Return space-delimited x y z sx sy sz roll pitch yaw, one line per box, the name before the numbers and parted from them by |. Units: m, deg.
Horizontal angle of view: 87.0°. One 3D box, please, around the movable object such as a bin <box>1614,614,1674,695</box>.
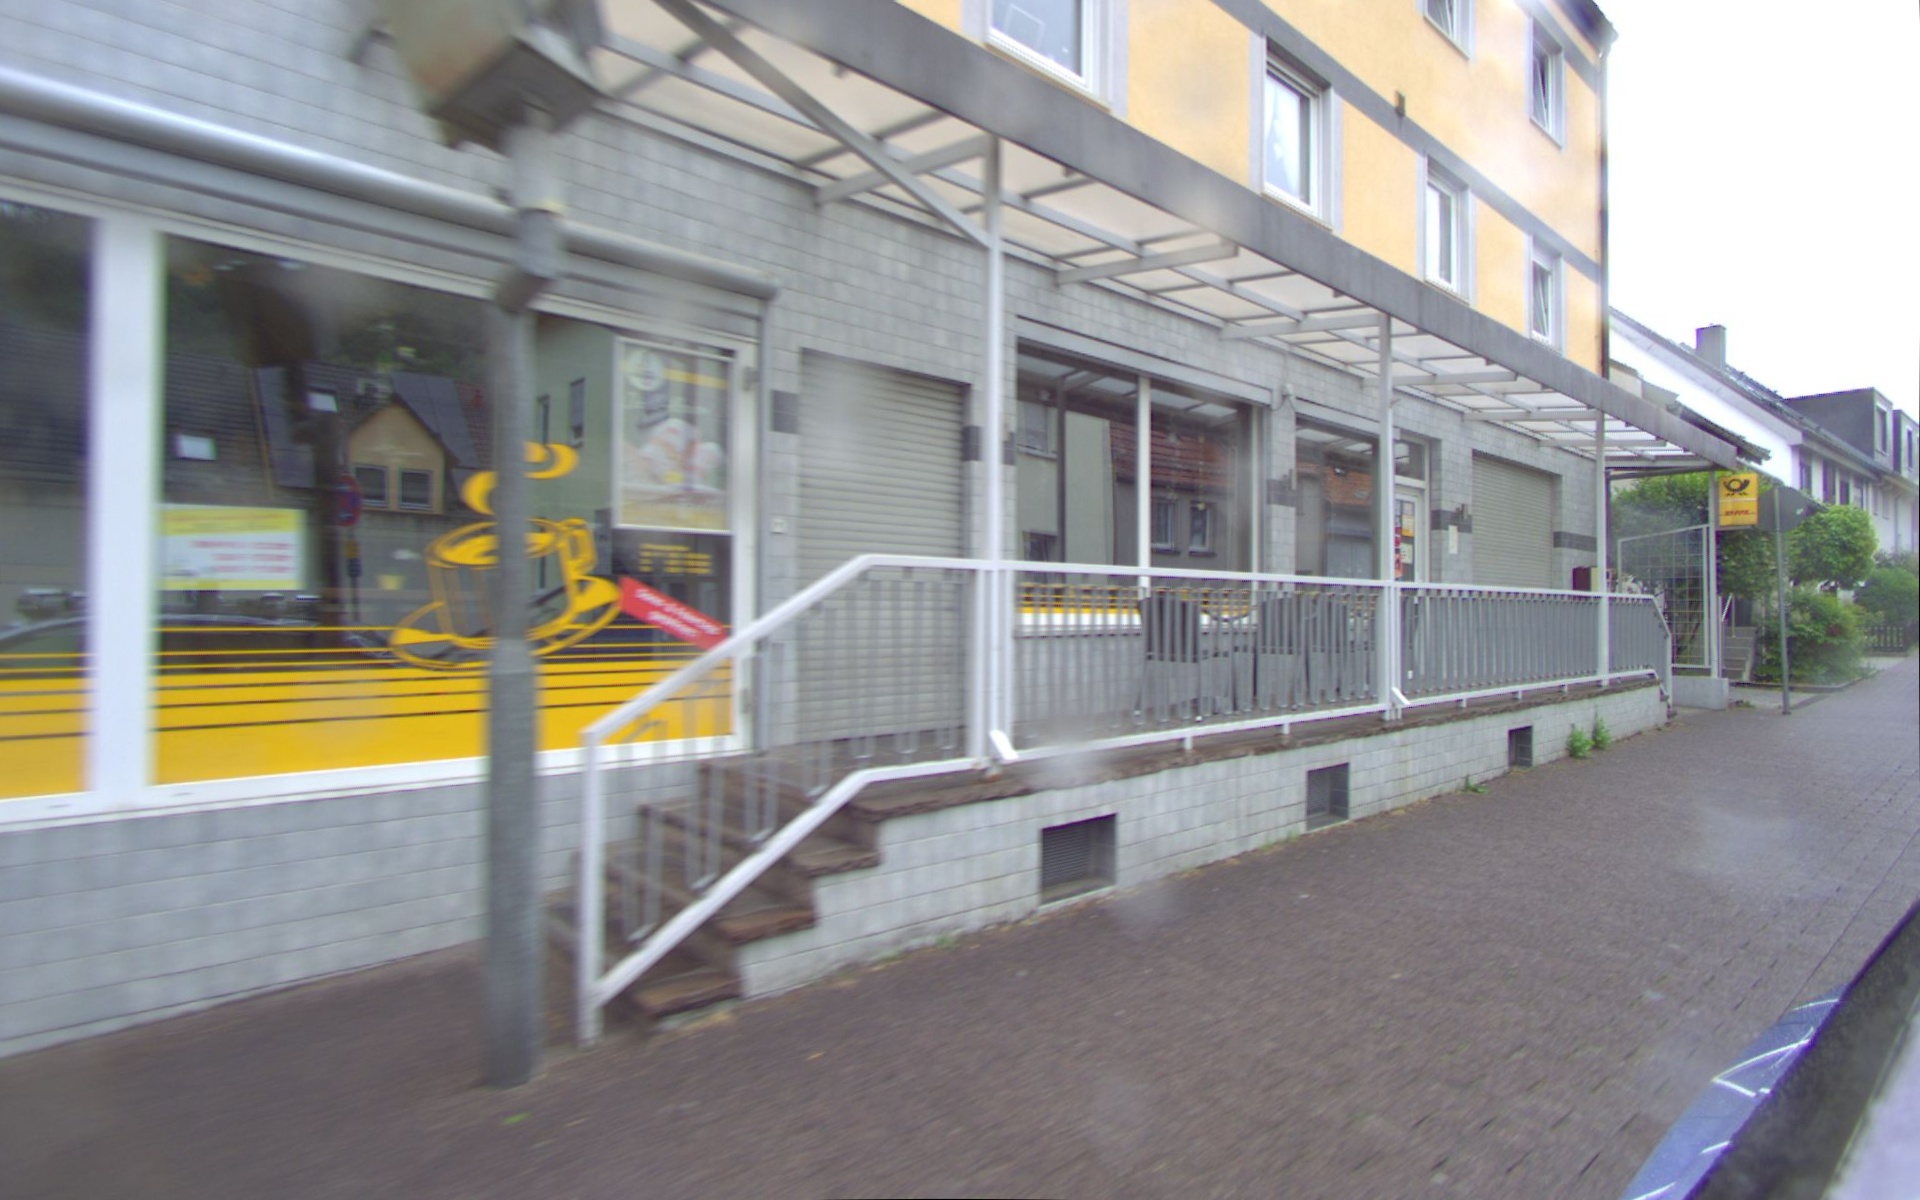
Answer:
movable object such as a bin | 9.752 0.760 14.428 0.726 1.095 0.510 1 0 -38
